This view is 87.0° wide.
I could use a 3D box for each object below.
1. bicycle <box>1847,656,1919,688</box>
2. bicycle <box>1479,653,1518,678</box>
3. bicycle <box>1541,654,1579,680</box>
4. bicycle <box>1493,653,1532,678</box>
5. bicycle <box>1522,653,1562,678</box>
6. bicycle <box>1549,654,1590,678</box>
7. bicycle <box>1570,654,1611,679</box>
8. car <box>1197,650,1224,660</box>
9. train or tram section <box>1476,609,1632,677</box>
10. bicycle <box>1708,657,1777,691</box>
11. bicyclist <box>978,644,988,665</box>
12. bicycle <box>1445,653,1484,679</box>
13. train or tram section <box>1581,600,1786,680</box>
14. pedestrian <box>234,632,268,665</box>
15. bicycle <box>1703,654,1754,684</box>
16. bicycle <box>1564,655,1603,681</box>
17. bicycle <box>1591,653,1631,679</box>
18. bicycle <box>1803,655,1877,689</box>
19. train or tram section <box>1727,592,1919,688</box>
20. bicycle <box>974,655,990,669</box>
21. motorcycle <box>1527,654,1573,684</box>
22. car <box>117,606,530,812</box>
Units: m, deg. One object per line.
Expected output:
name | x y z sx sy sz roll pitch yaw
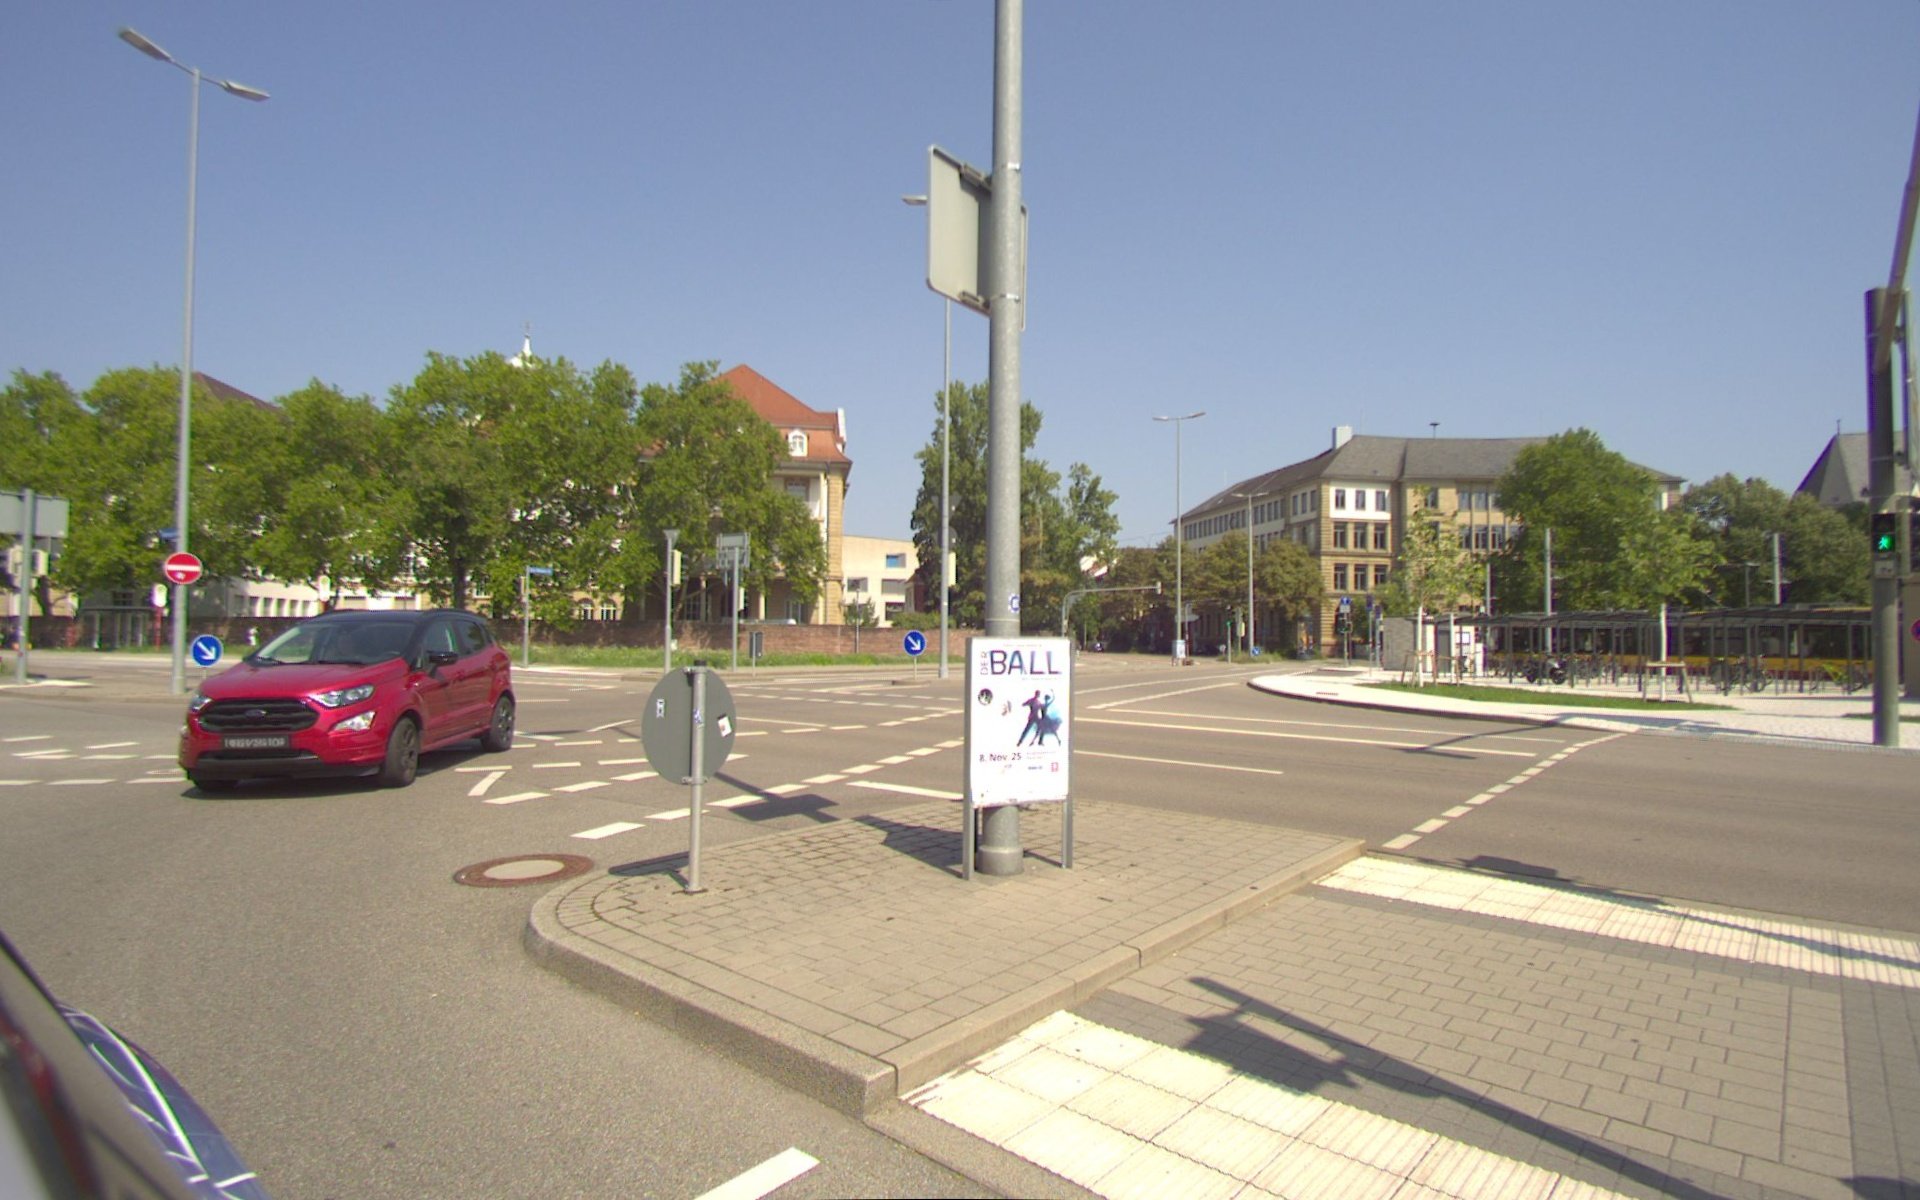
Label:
bicycle | 30.132 2.331 33.011 0.505 0.993 1.861 2 -3 -12
bicycle | 23.219 2.814 43.633 0.518 1.048 1.773 1 -3 -8
bicycle | 24.722 2.738 41.729 0.406 1.048 1.643 1 -3 -8
bicycle | 23.906 2.837 43.793 0.518 1.048 1.773 1 -3 -8
bicycle | 25.428 2.871 44.256 0.518 1.048 1.773 1 -3 -8
bicycle | 26.738 2.891 44.422 0.518 1.048 1.773 1 -3 -8
bicycle | 27.838 2.915 44.720 0.518 1.048 1.773 1 -3 -8
car | 31.114 6.823 125.891 3.007 1.185 1.255 1 -3 -14
train or tram section | 34.453 2.601 59.225 3.087 3.588 8.345 2 -4 -10
bicycle | 25.149 2.378 32.561 0.504 1.048 1.740 2 -3 -17
bicyclist | 1.381 3.258 60.935 0.430 1.242 0.536 -1 -3 22
bicycle | 21.734 2.827 43.668 0.518 1.090 1.868 1 -3 -8
train or tram section | 36.003 2.099 50.934 3.110 3.625 8.544 2 -4 -10
pedestrian | -43.860 2.988 62.607 1.219 2.029 1.070 1 -3 6
bicycle | 28.046 2.501 36.939 0.406 1.048 1.643 1 -3 -8
bicycle | 25.758 2.785 41.824 0.406 1.048 1.643 1 -3 -8
bicycle | 27.084 2.735 42.143 0.406 1.048 1.643 1 -3 -8
bicycle | 28.518 2.330 32.825 0.504 1.048 1.740 2 -3 -23
train or tram section | 37.559 1.794 42.547 3.110 3.625 8.544 2 -4 -10
bicycle | 1.314 3.692 60.752 0.434 0.818 1.475 -1 -3 22
motorcycle | 21.832 2.548 37.479 0.483 1.077 1.782 1 -3 -8
car | -5.900 0.894 10.055 1.818 1.627 4.004 0 -1 -4
